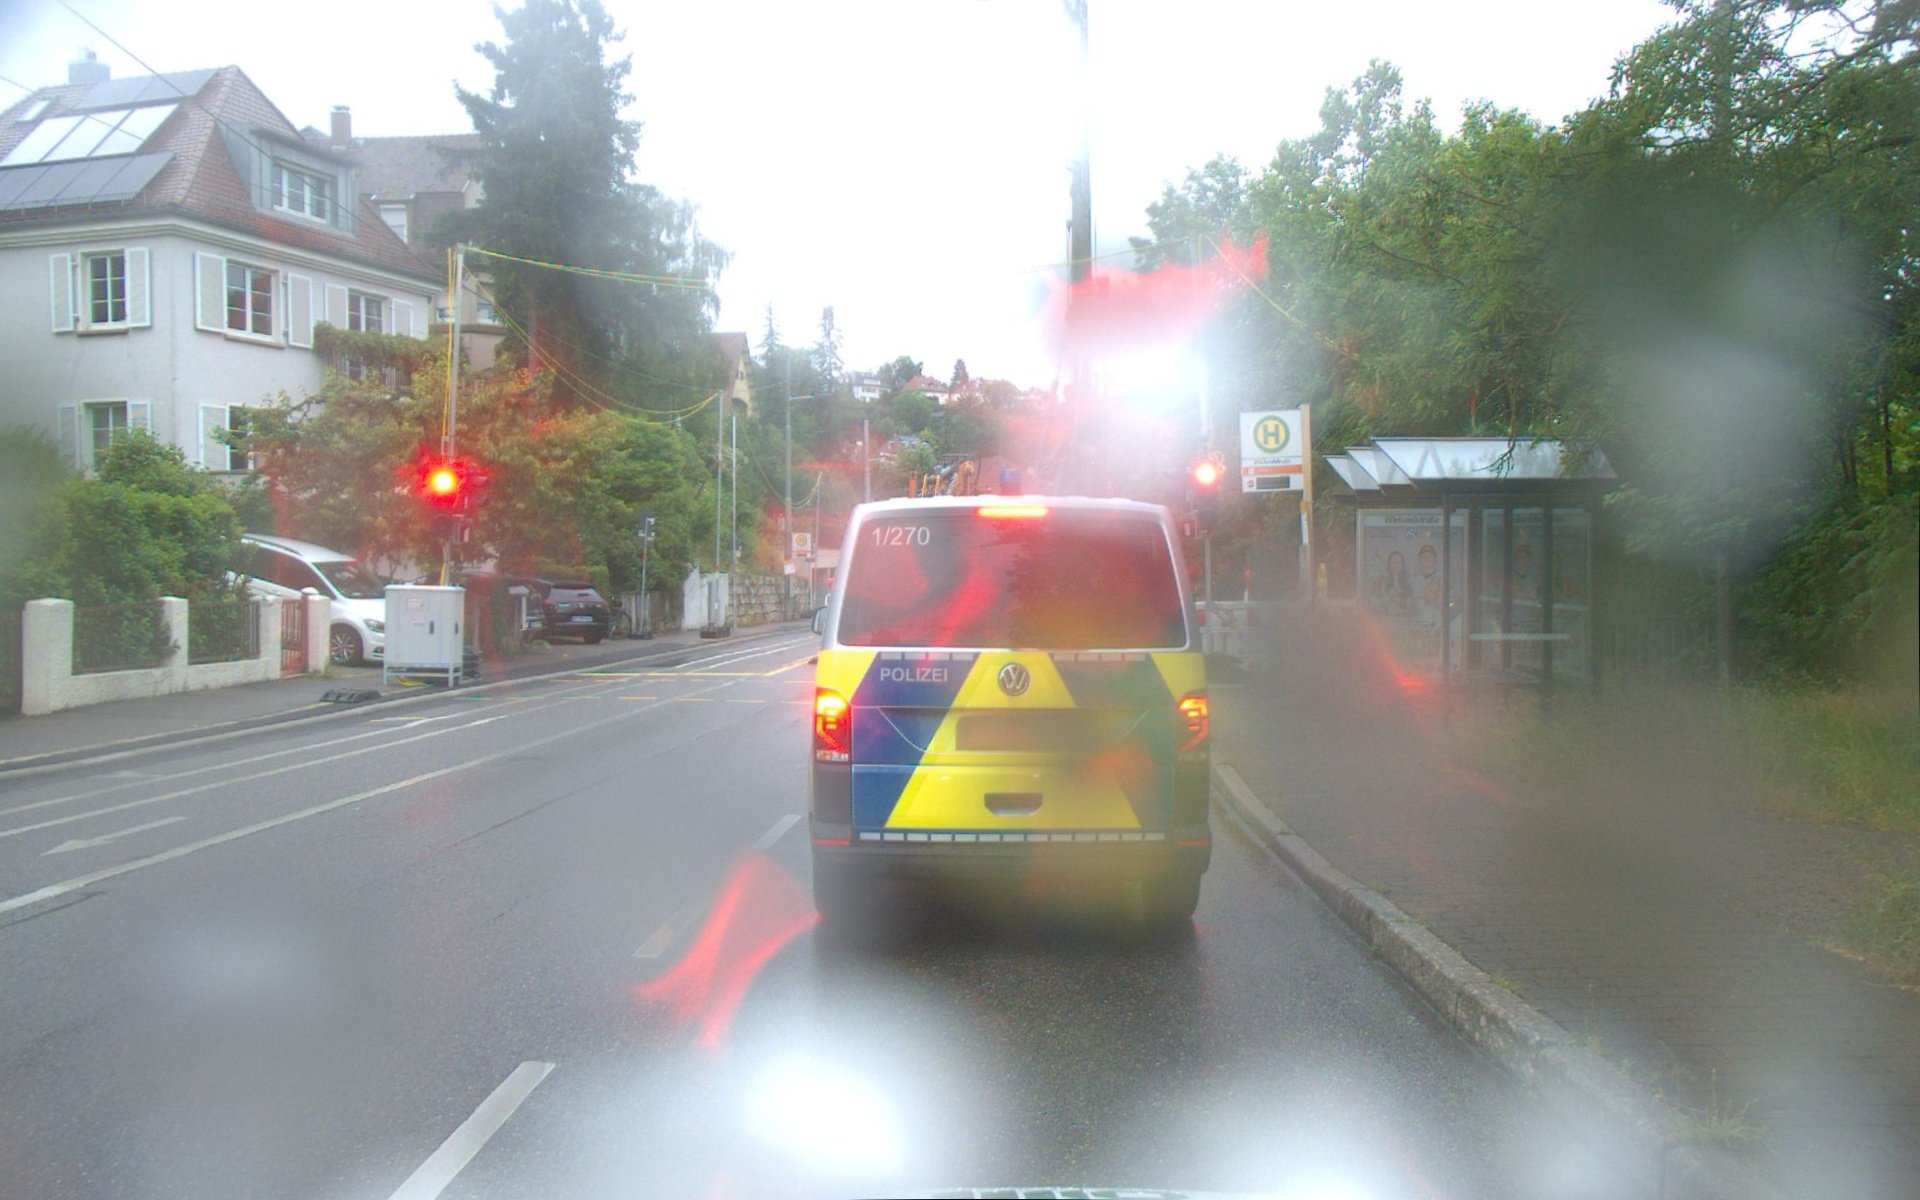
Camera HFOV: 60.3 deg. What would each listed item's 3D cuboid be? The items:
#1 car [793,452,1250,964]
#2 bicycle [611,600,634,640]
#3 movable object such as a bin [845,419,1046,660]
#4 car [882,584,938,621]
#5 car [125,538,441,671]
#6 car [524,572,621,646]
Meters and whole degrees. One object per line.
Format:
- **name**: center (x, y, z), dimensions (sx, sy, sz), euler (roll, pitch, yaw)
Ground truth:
- **car**: center (0.227, 0.435, 8.826), dimensions (1.855, 2.086, 3.999), euler (1, 0, -1)
- **bicycle**: center (-8.052, 0.465, 39.460), dimensions (0.455, 0.913, 1.628), euler (0, 0, -15)
- **movable object such as a bin**: center (-0.165, -1.096, 31.644), dimensions (2.770, 4.250, 4.384), euler (1, 0, 14)
- **car**: center (-2.132, 0.119, 71.714), dimensions (1.814, 1.554, 4.822), euler (1, 0, 5)
- **car**: center (-11.208, 0.055, 27.496), dimensions (4.532, 2.042, 1.902), euler (1, 0, 11)
- **car**: center (-8.910, 0.174, 37.834), dimensions (1.739, 1.512, 3.721), euler (1, 2, -20)
